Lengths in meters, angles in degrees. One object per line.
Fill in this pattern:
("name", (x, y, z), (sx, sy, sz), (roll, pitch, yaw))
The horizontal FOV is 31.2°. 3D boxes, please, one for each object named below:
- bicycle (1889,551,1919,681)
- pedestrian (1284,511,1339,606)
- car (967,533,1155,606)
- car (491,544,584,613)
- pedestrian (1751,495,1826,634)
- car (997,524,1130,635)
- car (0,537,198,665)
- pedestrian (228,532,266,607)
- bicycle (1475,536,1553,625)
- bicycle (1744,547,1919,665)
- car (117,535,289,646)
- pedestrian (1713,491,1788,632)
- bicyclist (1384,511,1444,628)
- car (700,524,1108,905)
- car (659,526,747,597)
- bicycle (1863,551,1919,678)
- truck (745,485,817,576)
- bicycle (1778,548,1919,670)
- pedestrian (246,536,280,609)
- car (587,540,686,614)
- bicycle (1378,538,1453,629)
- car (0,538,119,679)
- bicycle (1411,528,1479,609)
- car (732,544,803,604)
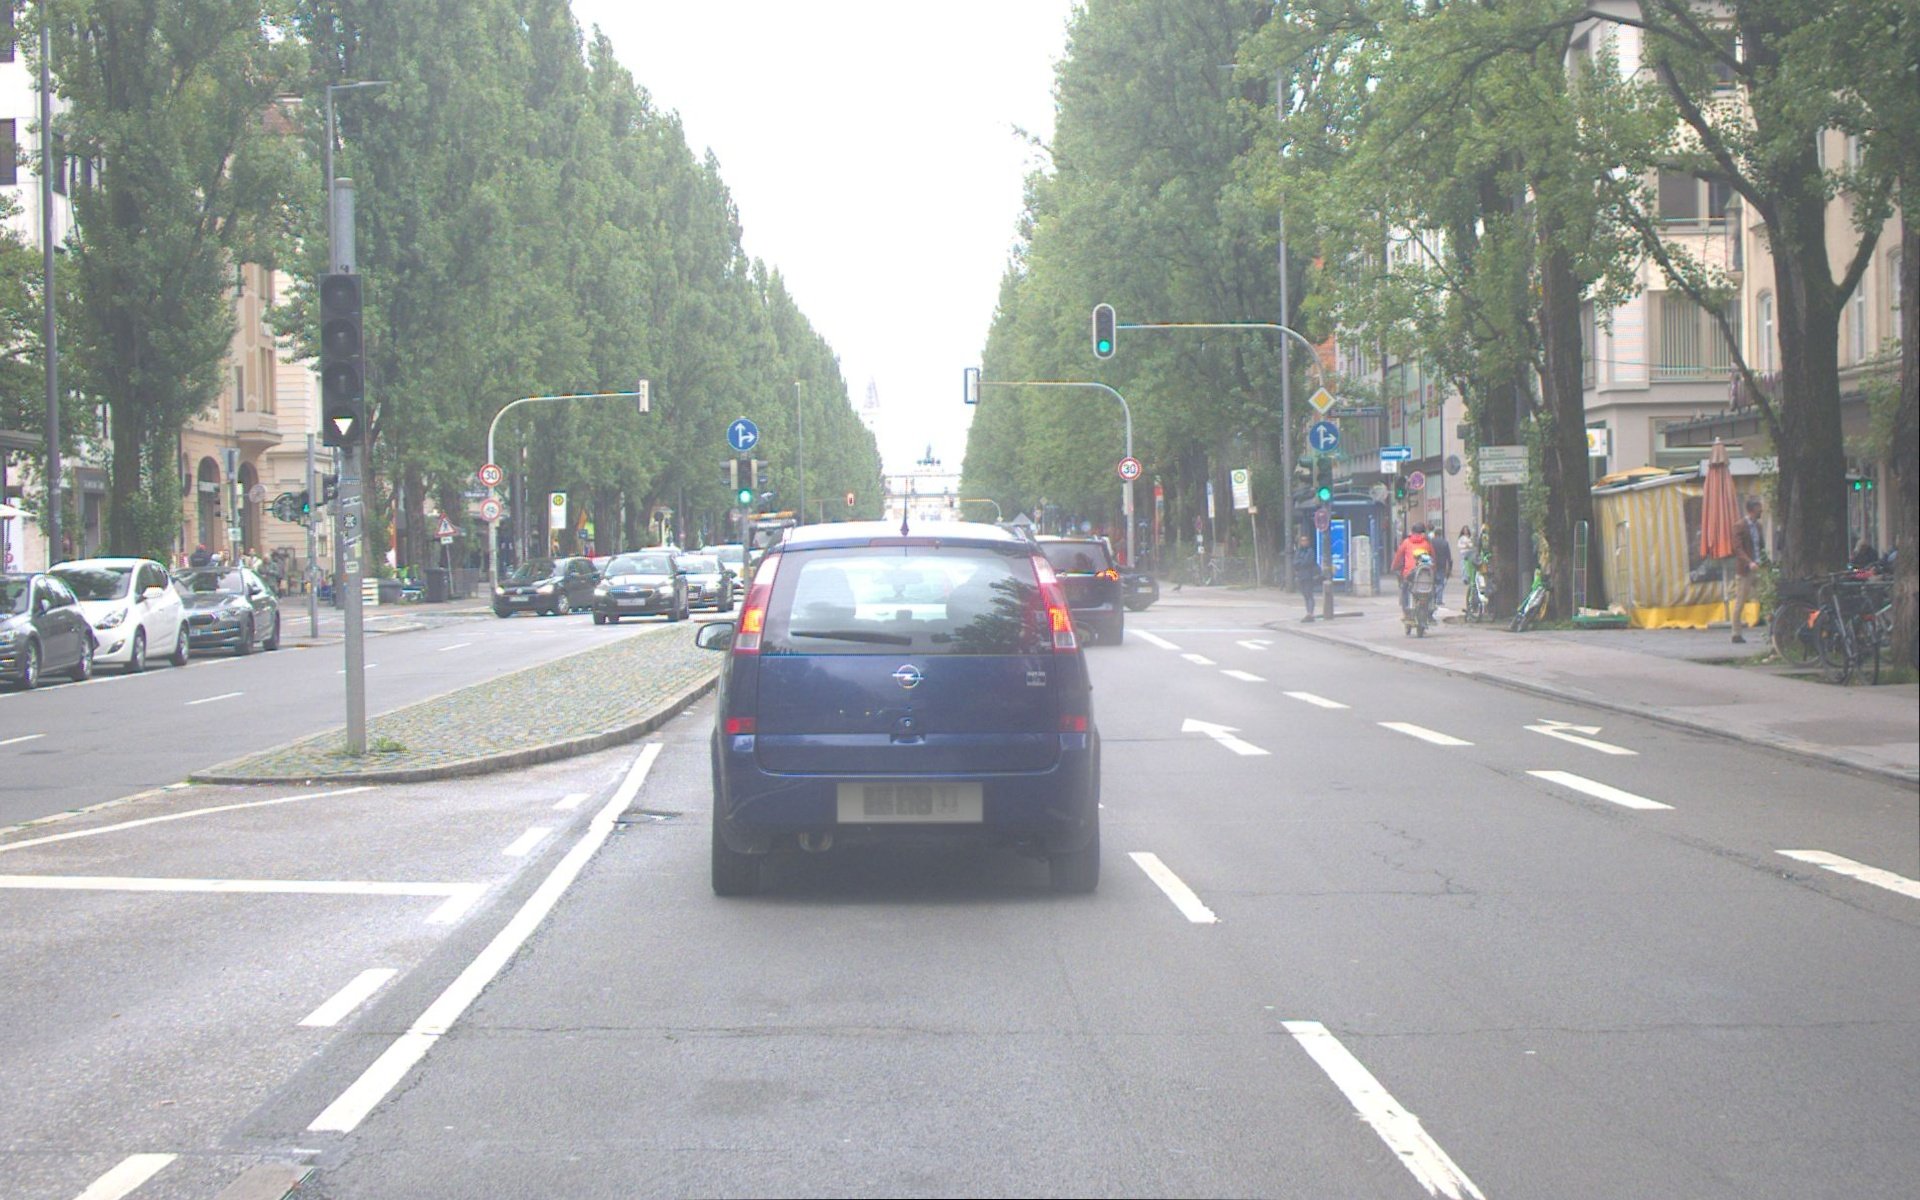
("bicycle", (9.953, 0.121, 32.357), (2.227, 1.200, 0.626), (-1, 1, -2))
("pedestrian", (6.591, -0.788, 64.504), (0.882, 1.760, 0.770), (-1, 1, -3))
("car", (2.304, -0.699, 77.693), (3.989, 1.616, 1.902), (0, 1, 11))
("car", (-10.677, -0.555, 87.159), (1.866, 1.660, 4.120), (-1, 1, 0))
("pedestrian", (10.969, -0.471, 45.528), (0.636, 1.820, 0.888), (1, 0, -10))
("car", (1.542, -0.343, 52.420), (1.896, 1.616, 4.000), (0, 1, 0))
("car", (-12.224, -0.025, 48.777), (1.866, 1.660, 4.120), (-2, 1, 0))
("pedestrian", (-16.903, -0.719, 81.454), (0.767, 1.760, 0.885), (-1, 1, -17))
("bicycle", (8.626, -0.319, 53.655), (0.772, 1.344, 2.449), (-1, 1, -1))
("bicycle", (9.556, 0.053, 36.649), (2.227, 1.200, 0.626), (-1, 1, -2))
("car", (-12.291, -0.183, 56.052), (1.866, 1.660, 4.120), (-2, 1, 0))
("pedestrian", (10.327, -0.507, 44.940), (0.636, 1.820, 0.888), (1, 0, -10))
("bicyclist", (6.909, -0.470, 52.338), (0.767, 1.760, 0.885), (-1, 1, -1))
("car", (-0.239, 0.429, 16.094), (1.671, 1.563, 4.000), (0, 1, 0))
("car", (-6.289, -0.964, 84.546), (1.866, 1.660, 4.120), (-1, 1, 0))
("bicycle", (9.915, 0.112, 33.153), (2.227, 1.200, 0.626), (-1, 1, -2))
("truck", (-6.801, -2.661, 131.399), (2.383, 3.335, 7.111), (-1, 1, 0))
("bicycle", (9.594, 0.074, 35.270), (2.227, 1.200, 0.626), (-1, 1, -2))
("pedestrian", (-17.047, -0.677, 84.081), (0.767, 1.760, 0.885), (-1, 1, -12))
("car", (-6.681, -0.503, 71.286), (1.735, 1.460, 3.365), (-1, 1, 0))
("bicycle", (6.911, -0.265, 52.252), (0.772, 1.344, 2.449), (-1, 1, -1))
("car", (-12.105, 0.096, 43.517), (1.866, 1.660, 4.120), (-2, 1, 0))
("bicycle", (8.338, -0.557, 59.179), (0.772, 1.344, 2.449), (-1, 1, -1))
("car", (-5.617, -0.777, 100.619), (1.866, 1.660, 4.120), (-1, 1, 0))
